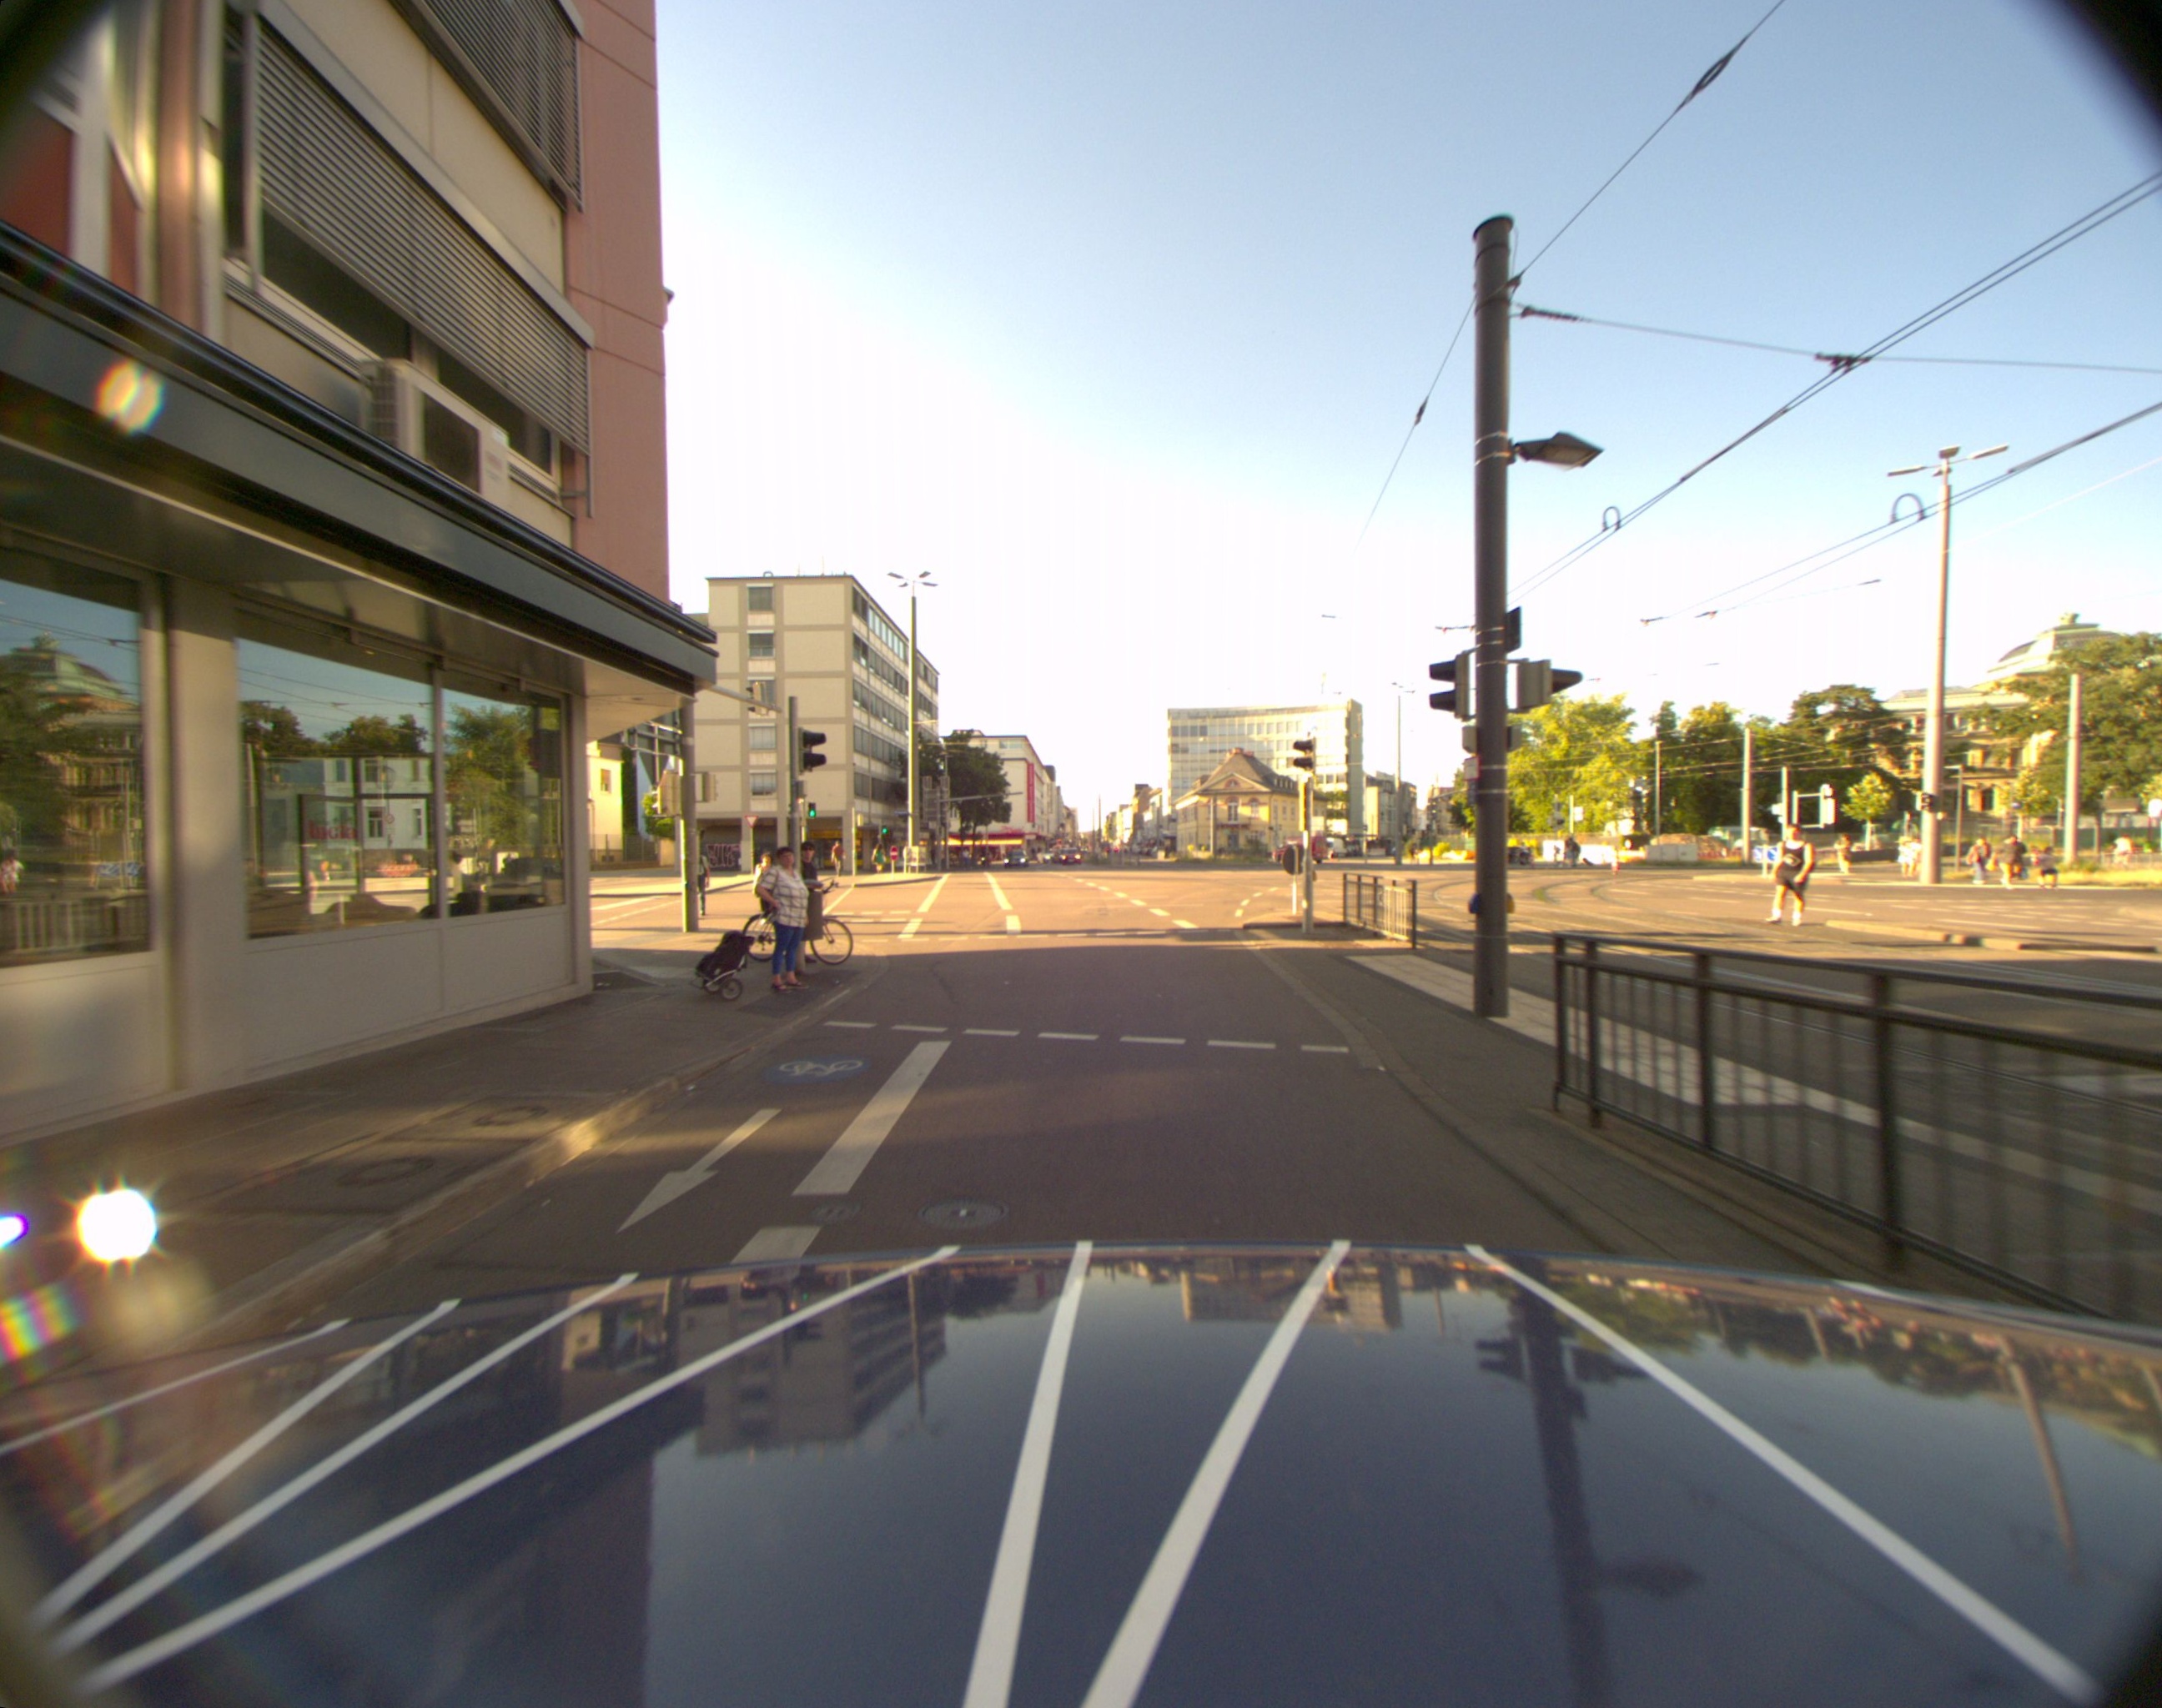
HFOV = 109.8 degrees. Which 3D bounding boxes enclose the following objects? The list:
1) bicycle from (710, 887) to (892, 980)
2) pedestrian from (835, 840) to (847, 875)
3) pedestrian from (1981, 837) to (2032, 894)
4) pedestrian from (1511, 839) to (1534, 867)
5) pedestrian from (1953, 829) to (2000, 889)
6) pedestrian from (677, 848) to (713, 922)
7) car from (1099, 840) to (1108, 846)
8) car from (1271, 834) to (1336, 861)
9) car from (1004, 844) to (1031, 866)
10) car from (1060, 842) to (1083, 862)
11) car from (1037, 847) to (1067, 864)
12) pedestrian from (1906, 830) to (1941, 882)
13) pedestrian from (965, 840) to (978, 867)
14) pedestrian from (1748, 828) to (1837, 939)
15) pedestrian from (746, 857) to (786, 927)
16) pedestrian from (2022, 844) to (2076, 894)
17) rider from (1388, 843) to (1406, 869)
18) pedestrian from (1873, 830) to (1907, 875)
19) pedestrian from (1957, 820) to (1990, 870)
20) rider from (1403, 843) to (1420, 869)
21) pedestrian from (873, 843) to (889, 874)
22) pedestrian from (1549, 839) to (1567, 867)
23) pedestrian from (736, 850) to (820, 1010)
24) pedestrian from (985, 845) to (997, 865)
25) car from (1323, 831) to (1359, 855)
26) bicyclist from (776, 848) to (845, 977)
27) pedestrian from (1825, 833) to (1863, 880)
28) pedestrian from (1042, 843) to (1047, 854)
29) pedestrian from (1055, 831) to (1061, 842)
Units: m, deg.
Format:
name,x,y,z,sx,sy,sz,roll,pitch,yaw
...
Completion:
name,x,y,z,sx,sy,sz,roll,pitch,yaw
bicycle,-3.765,1.055,10.370,2.176,1.117,0.768,-1,2,-3
pedestrian,-11.959,0.196,37.824,0.407,1.708,0.394,-4,2,-23
pedestrian,29.609,0.367,24.321,0.858,1.757,0.812,-2,2,38
pedestrian,33.013,-0.091,56.832,1.073,2.002,0.989,-3,2,5
pedestrian,31.117,0.170,26.417,0.858,2.002,0.812,-2,2,38
pedestrian,-9.398,0.730,18.530,0.655,1.759,0.811,-1,2,-22
car,6.421,-3.177,216.990,1.972,1.664,4.873,-2,1,-3
car,20.947,-0.584,71.793,2.547,2.441,5.409,-3,1,-33
car,-5.253,0.074,63.451,1.972,1.664,4.873,-2,1,-2
car,-0.818,-0.173,67.854,1.971,1.664,4.874,-2,1,0
car,-3.145,0.145,81.199,1.974,1.664,4.868,-3,1,-16
pedestrian,33.316,0.080,30.035,0.812,2.002,0.858,-5,2,-40
pedestrian,-8.448,-0.014,58.476,0.747,2.002,1.070,-4,2,-13
pedestrian,12.251,0.482,13.089,0.812,1.793,0.859,-4,2,-28
pedestrian,-7.063,0.842,17.066,0.691,1.527,0.613,-1,2,-11
pedestrian,30.562,0.465,24.000,0.858,1.502,0.812,-2,2,38
rider,25.393,0.198,61.076,1.011,2.002,1.022,-2,2,34
pedestrian,32.800,-0.066,30.811,0.709,1.761,0.858,-5,2,-40
pedestrian,36.989,-0.384,31.496,0.812,2.002,0.858,-5,2,-40
rider,26.261,0.156,60.420,1.011,2.002,0.991,-2,2,34
pedestrian,-9.685,0.221,36.829,0.597,1.435,0.613,-4,2,-11
pedestrian,35.530,-0.098,56.558,1.011,2.002,0.991,-2,2,34
pedestrian,-3.295,0.801,8.321,0.637,1.652,0.768,2,1,-9
pedestrian,-7.590,0.079,63.920,0.860,1.700,1.051,-2,2,-4
car,34.156,-1.521,99.772,2.535,3.032,6.386,3,4,37
bicyclist,-3.674,0.766,10.377,0.637,1.668,0.768,-1,2,-3
pedestrian,33.878,0.095,33.726,0.811,2.002,0.860,-4,2,-14
pedestrian,-5.012,-0.754,103.805,0.597,1.435,0.613,-1,2,-2
pedestrian,-3.026,-2.362,100.424,0.597,1.435,0.613,-1,2,-11
